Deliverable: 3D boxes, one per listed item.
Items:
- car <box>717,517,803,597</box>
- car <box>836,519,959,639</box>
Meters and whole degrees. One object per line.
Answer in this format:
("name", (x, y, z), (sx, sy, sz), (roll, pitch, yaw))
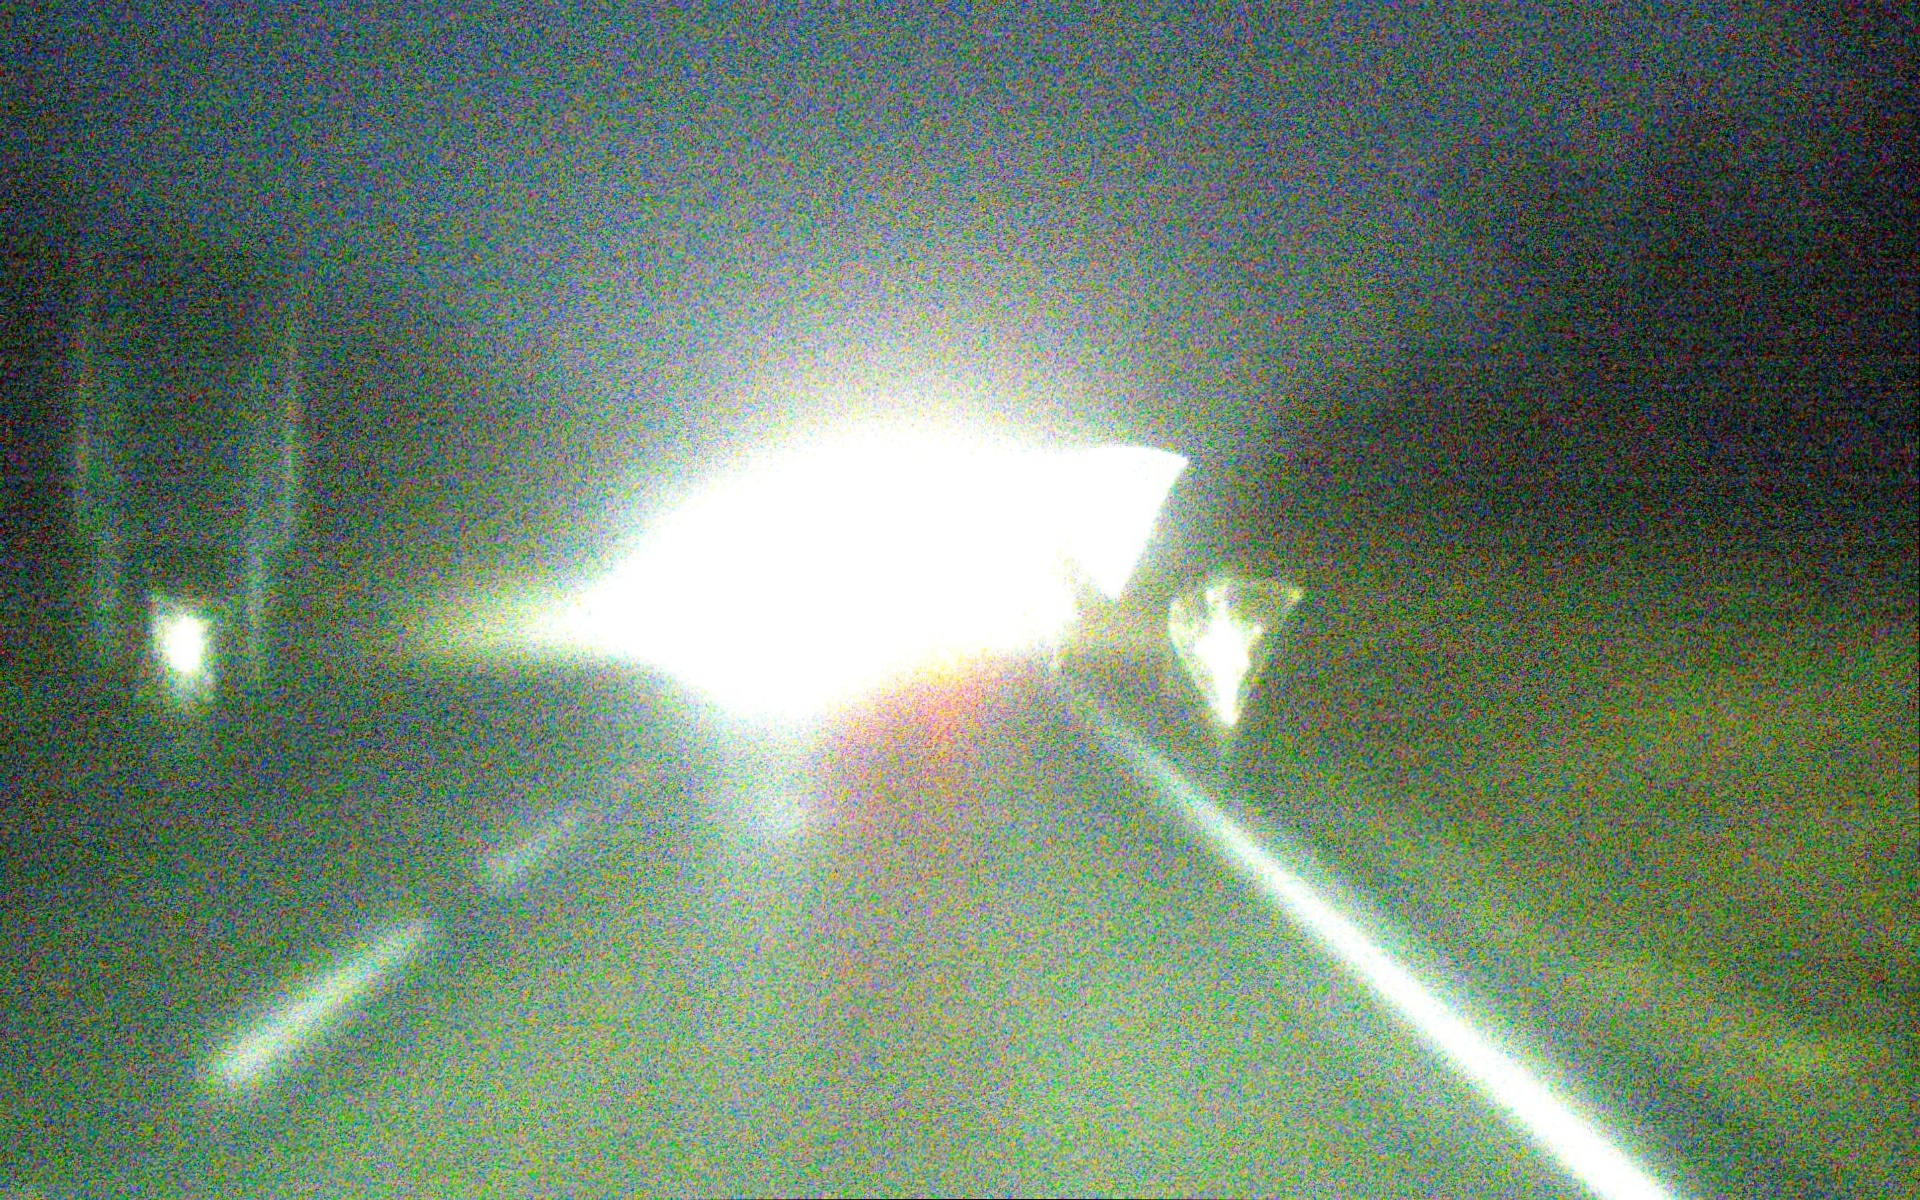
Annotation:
("car", (-5.157, -1.119, 89.125), (1.993, 2.007, 4.000), (1, 1, 0))
("car", (-1.013, -0.366, 54.709), (1.842, 1.734, 4.001), (2, 2, -2))
